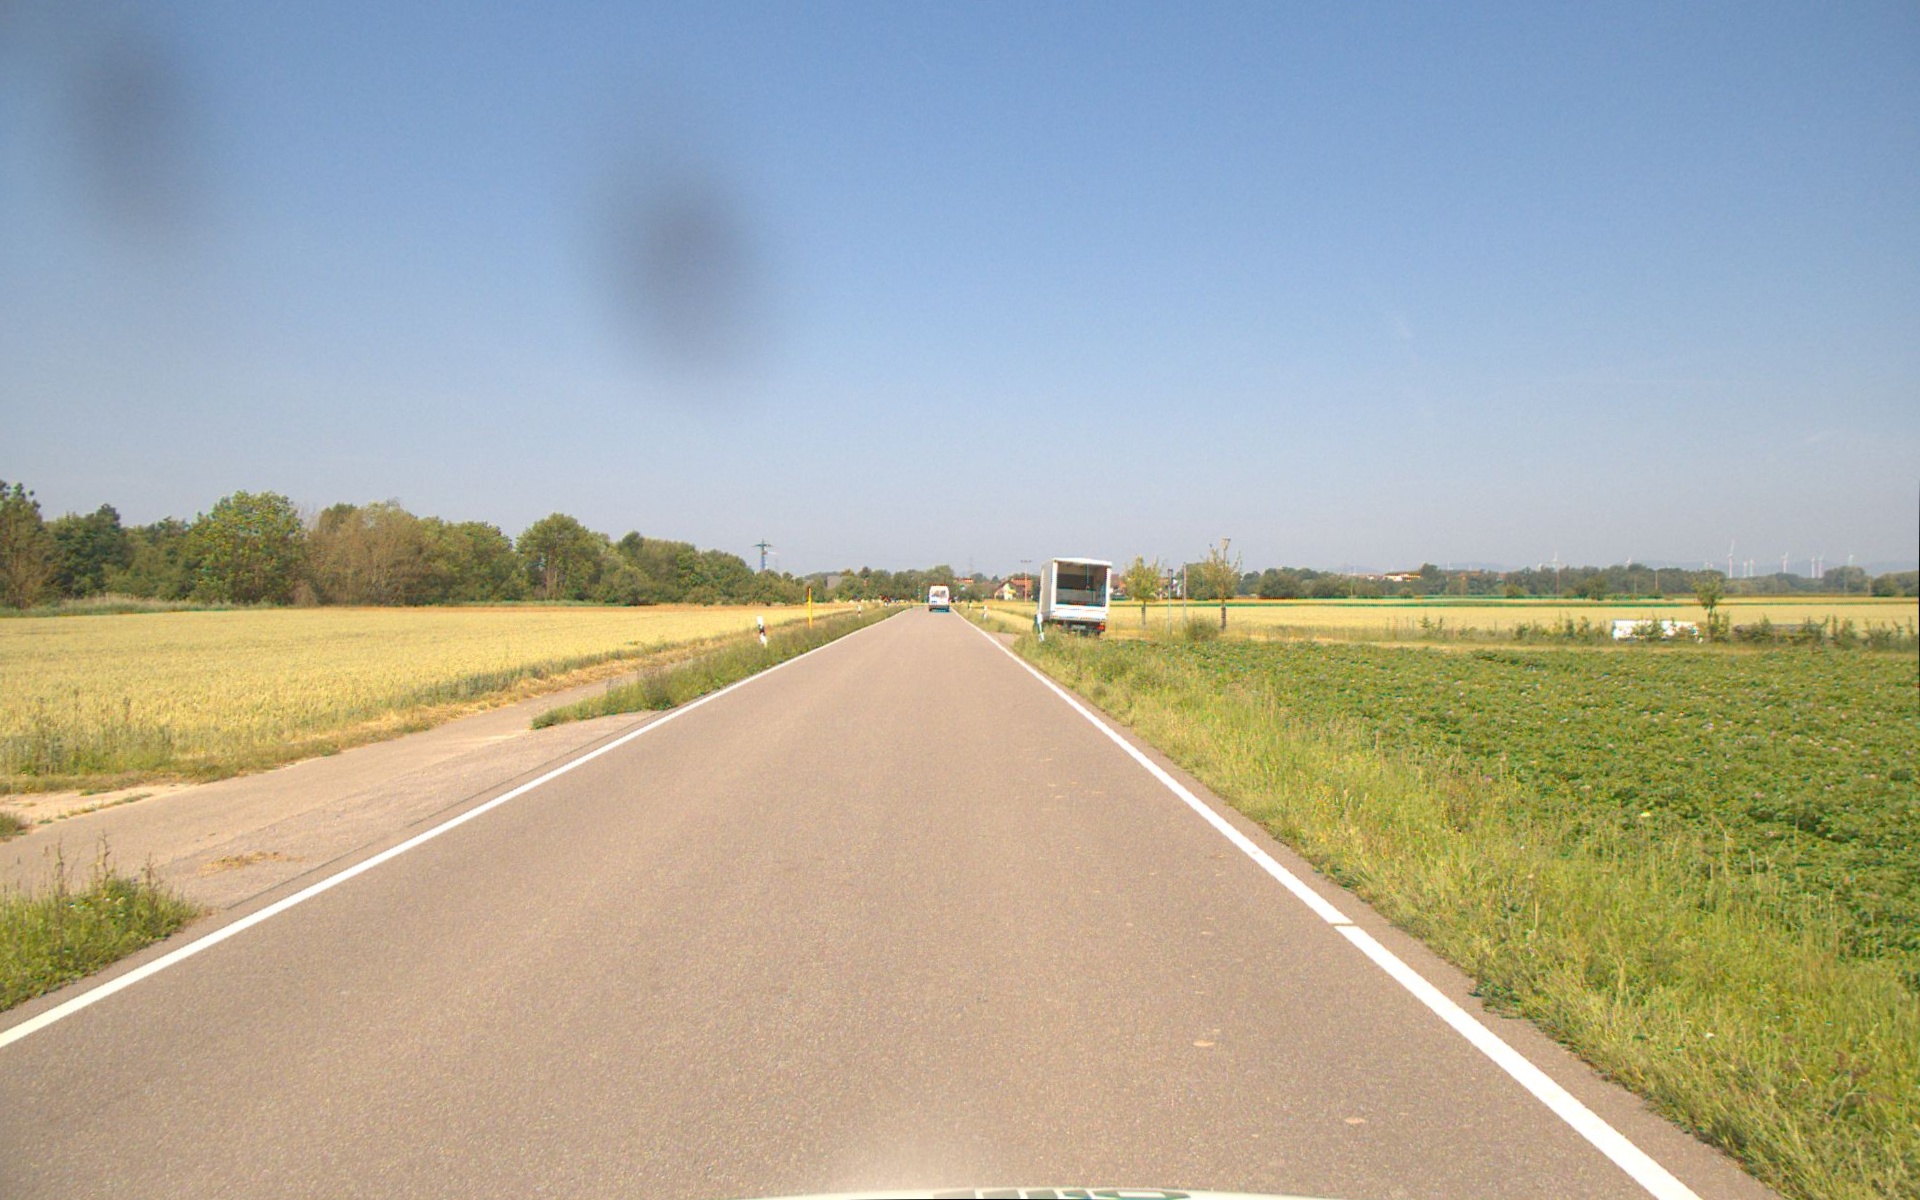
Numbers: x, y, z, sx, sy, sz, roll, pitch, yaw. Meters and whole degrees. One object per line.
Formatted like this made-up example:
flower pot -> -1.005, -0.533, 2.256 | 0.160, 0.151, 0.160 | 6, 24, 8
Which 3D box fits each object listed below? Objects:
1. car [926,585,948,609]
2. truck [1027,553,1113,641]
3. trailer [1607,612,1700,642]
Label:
car -> -2.302, -0.302, 164.112 | 2.064, 2.344, 5.494 | 2, 0, -1
truck -> 4.030, -0.092, 61.730 | 2.289, 2.993, 7.004 | 3, 0, -3
trailer -> 30.511, 1.169, 72.822 | 3.509, 1.210, 1.665 | 2, 0, 11
